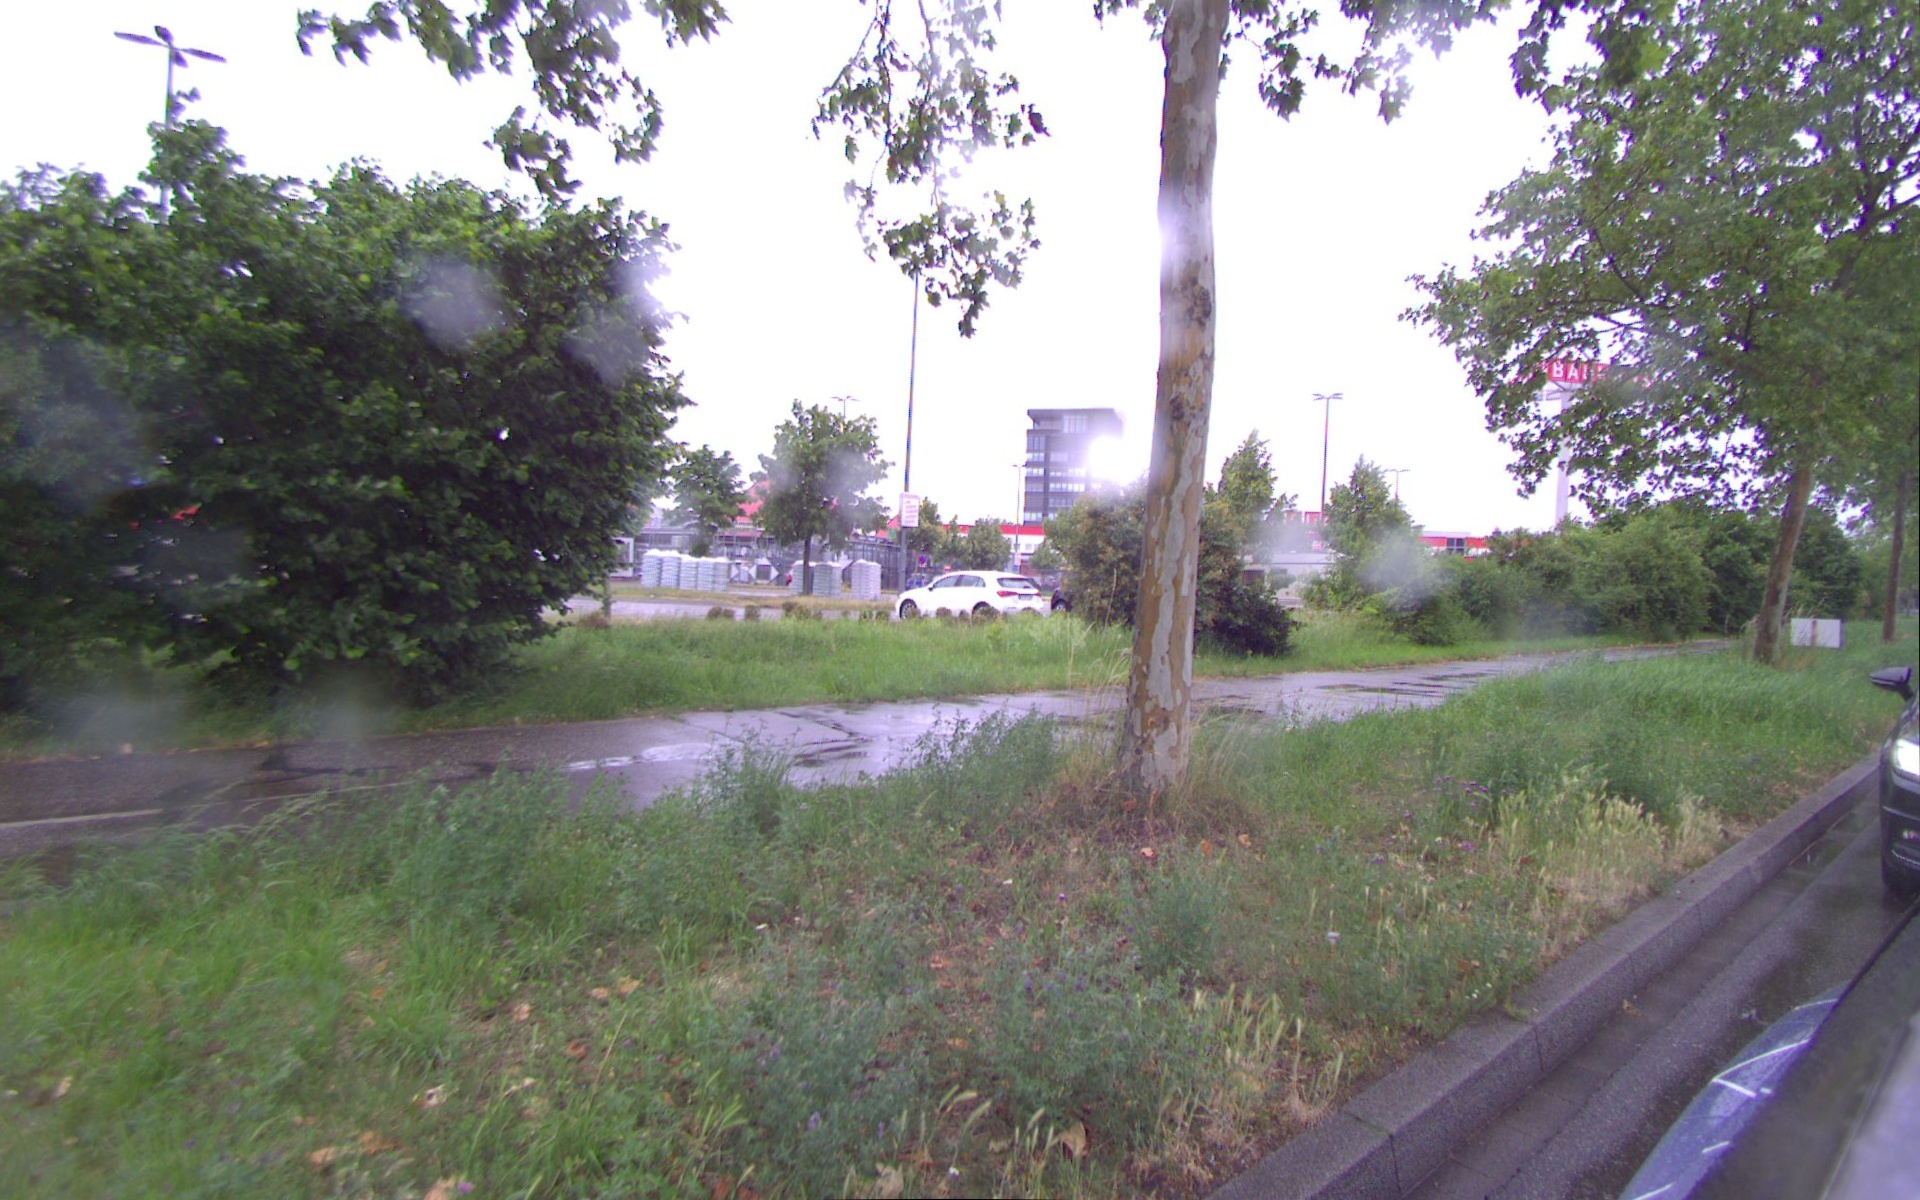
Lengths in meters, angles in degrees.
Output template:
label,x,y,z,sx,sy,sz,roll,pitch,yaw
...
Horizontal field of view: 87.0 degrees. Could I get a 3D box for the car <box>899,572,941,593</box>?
label,x,y,z,sx,sy,sz,roll,pitch,yaw
car,-3.124,-1.396,79.204,1.905,1.571,4.249,2,2,18

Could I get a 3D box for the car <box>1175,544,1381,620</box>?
label,x,y,z,sx,sy,sz,roll,pitch,yaw
car,10.963,-0.704,35.283,6.399,2.392,2.357,3,2,41

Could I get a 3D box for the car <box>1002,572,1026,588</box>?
label,x,y,z,sx,sy,sz,roll,pitch,yaw
car,6.021,-2.272,112.499,1.973,1.697,4.257,2,2,13

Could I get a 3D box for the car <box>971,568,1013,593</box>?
label,x,y,z,sx,sy,sz,roll,pitch,yaw
car,2.192,-1.357,68.148,1.903,1.571,4.254,2,2,15

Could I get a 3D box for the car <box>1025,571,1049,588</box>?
label,x,y,z,sx,sy,sz,roll,pitch,yaw
car,8.516,-2.280,111.899,1.973,1.697,4.257,2,2,13

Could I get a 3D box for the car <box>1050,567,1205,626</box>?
label,x,y,z,sx,sy,sz,roll,pitch,yaw
car,4.938,-0.152,30.295,1.899,1.571,4.262,0,2,-45

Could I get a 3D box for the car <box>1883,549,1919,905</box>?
label,x,y,z,sx,sy,sz,roll,pitch,yaw
car,6.565,0.577,5.614,4.548,1.625,1.768,0,0,-43

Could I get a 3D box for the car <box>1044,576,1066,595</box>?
label,x,y,z,sx,sy,sz,roll,pitch,yaw
car,9.228,-1.431,98.469,1.969,1.697,4.266,2,2,7

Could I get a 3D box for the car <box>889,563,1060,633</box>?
label,x,y,z,sx,sy,sz,roll,pitch,yaw
car,0.296,-0.110,25.940,1.899,1.571,4.262,0,2,-45

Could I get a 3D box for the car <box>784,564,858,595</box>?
label,x,y,z,sx,sy,sz,roll,pitch,yaw
car,-8.136,-1.179,59.263,3.937,1.749,1.885,0,0,12

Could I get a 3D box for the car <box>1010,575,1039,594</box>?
label,x,y,z,sx,sy,sz,roll,pitch,yaw
car,6.045,-1.444,94.723,1.973,1.697,4.255,2,2,14
